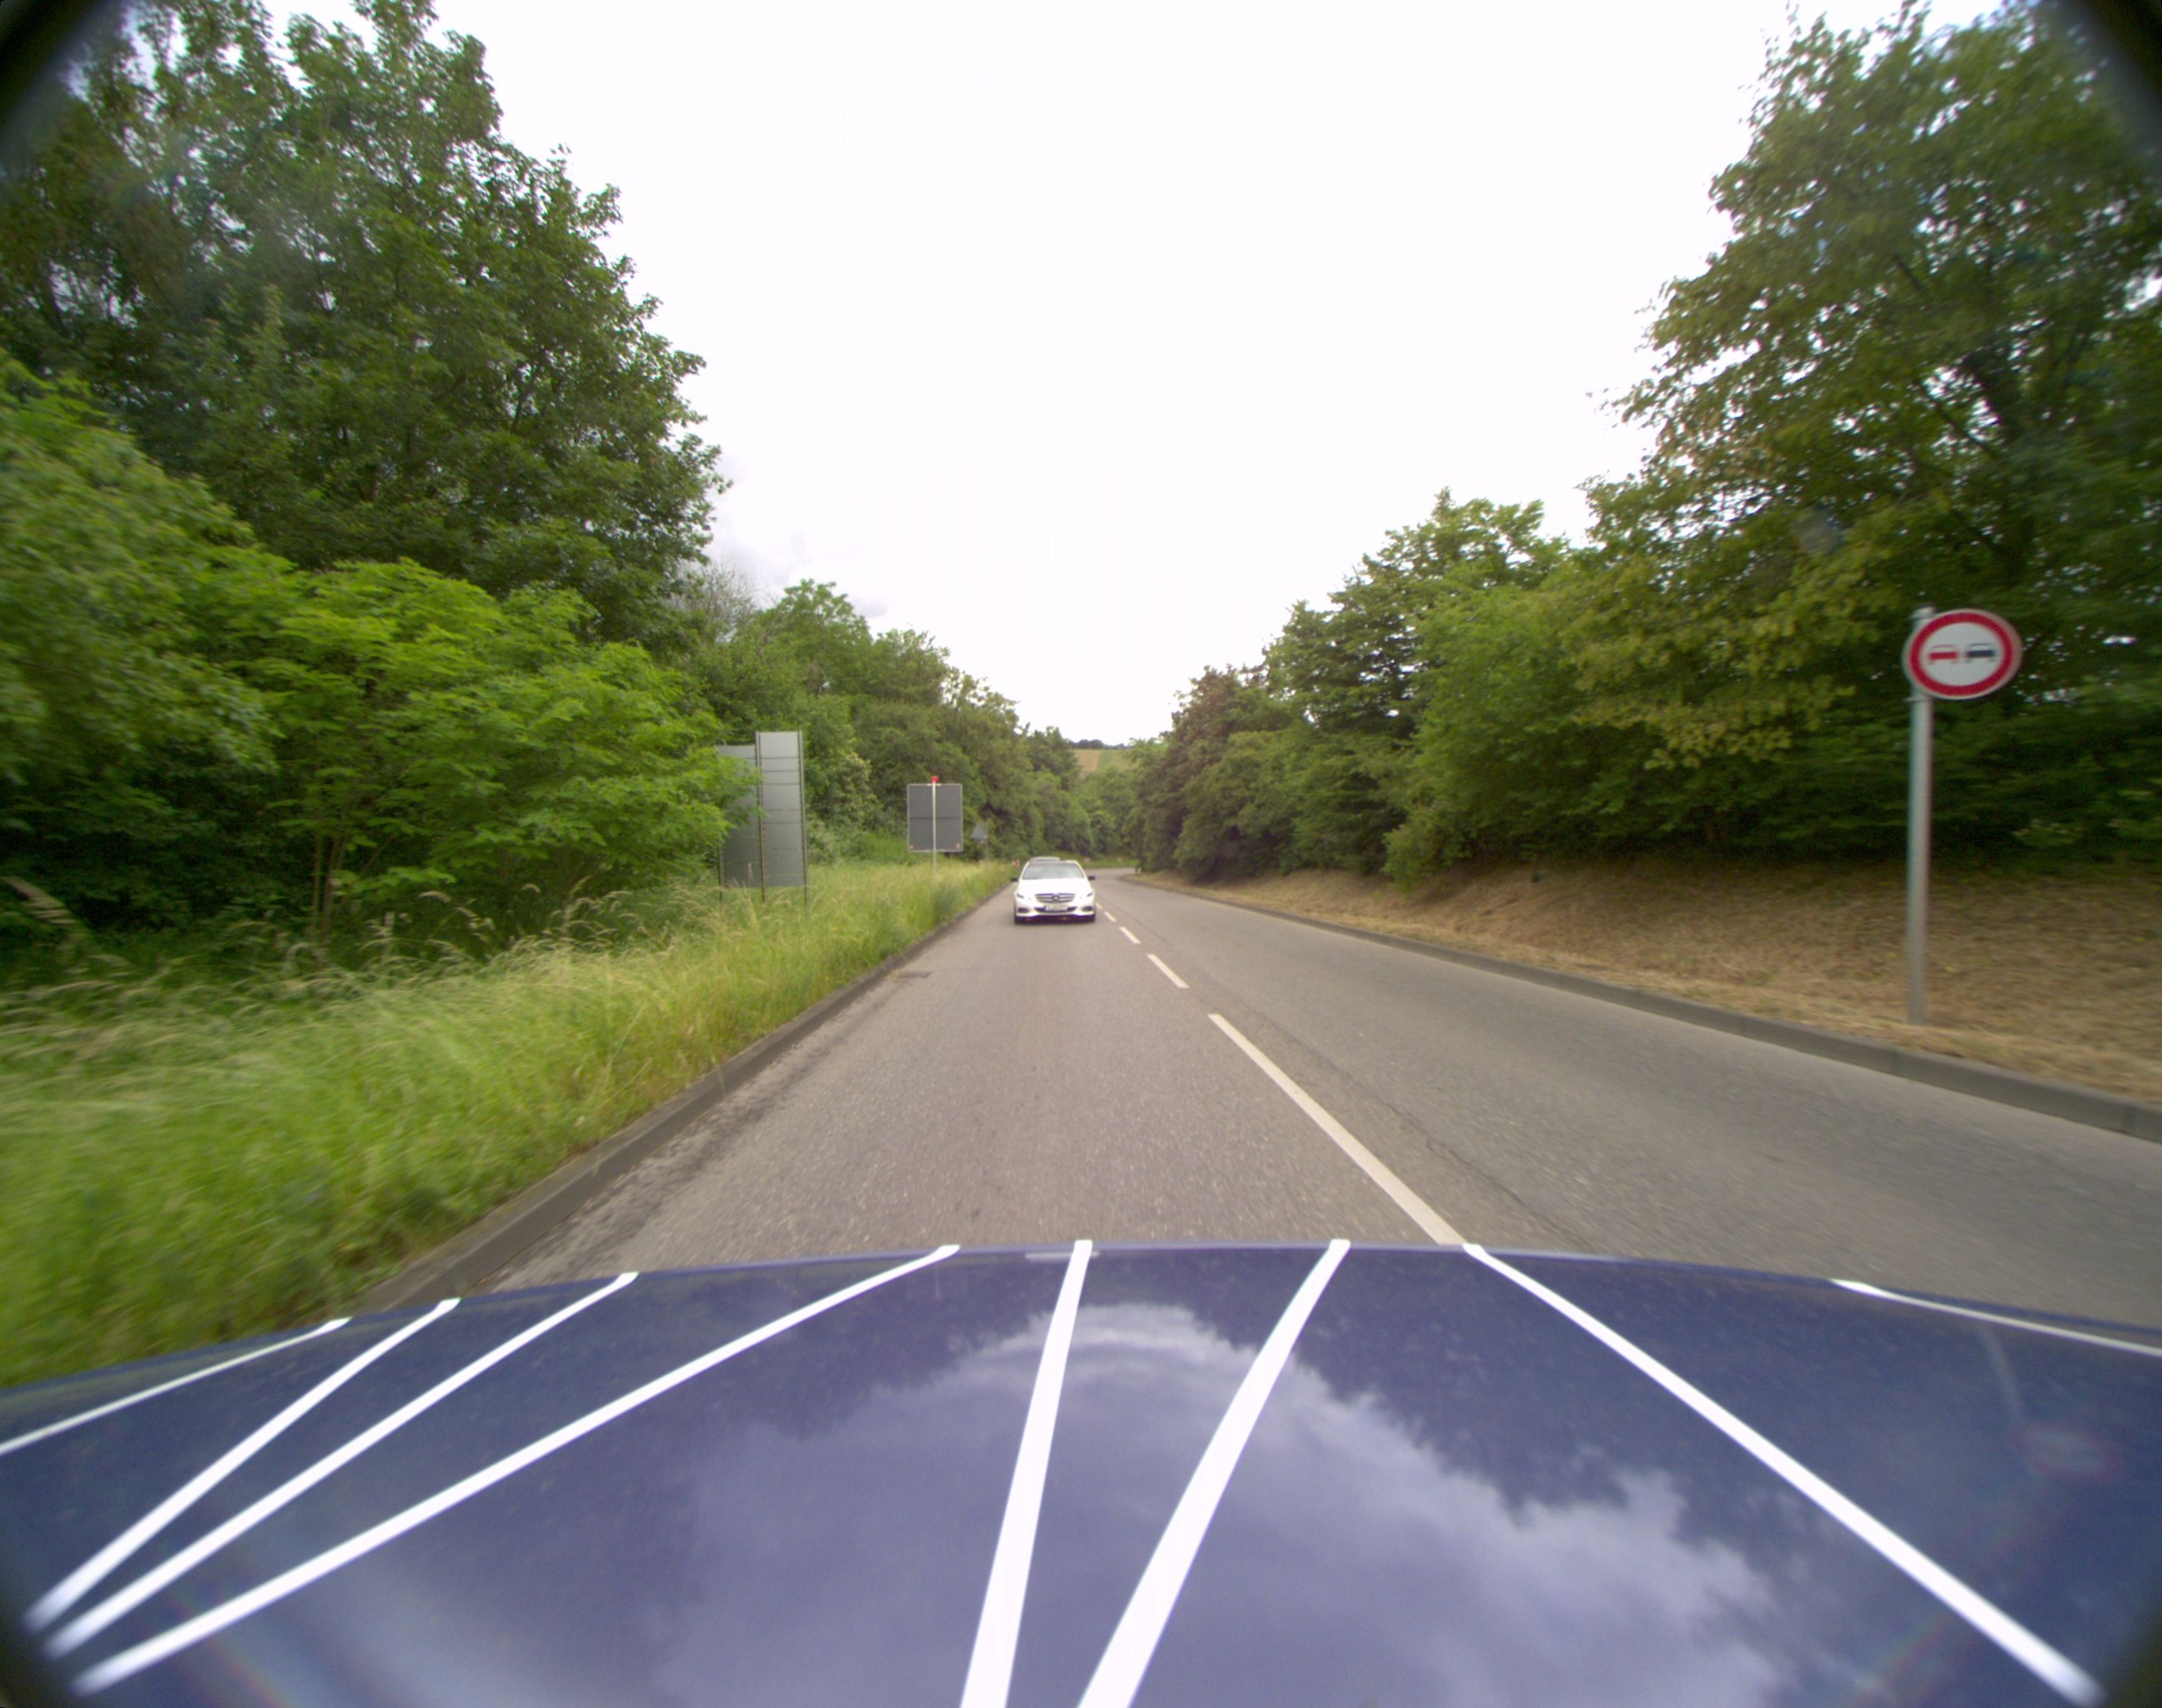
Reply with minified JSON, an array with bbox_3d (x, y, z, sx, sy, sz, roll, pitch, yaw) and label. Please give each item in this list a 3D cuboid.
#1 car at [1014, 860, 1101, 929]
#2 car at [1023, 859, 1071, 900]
[{"bbox_3d":[-0.659,0.911,18.672,1.888,1.414,3.998,-2,0,-4],"label":"car"},{"bbox_3d":[-1.383,0.969,30.723,1.823,1.535,3.725,0,0,-3],"label":"car"}]
